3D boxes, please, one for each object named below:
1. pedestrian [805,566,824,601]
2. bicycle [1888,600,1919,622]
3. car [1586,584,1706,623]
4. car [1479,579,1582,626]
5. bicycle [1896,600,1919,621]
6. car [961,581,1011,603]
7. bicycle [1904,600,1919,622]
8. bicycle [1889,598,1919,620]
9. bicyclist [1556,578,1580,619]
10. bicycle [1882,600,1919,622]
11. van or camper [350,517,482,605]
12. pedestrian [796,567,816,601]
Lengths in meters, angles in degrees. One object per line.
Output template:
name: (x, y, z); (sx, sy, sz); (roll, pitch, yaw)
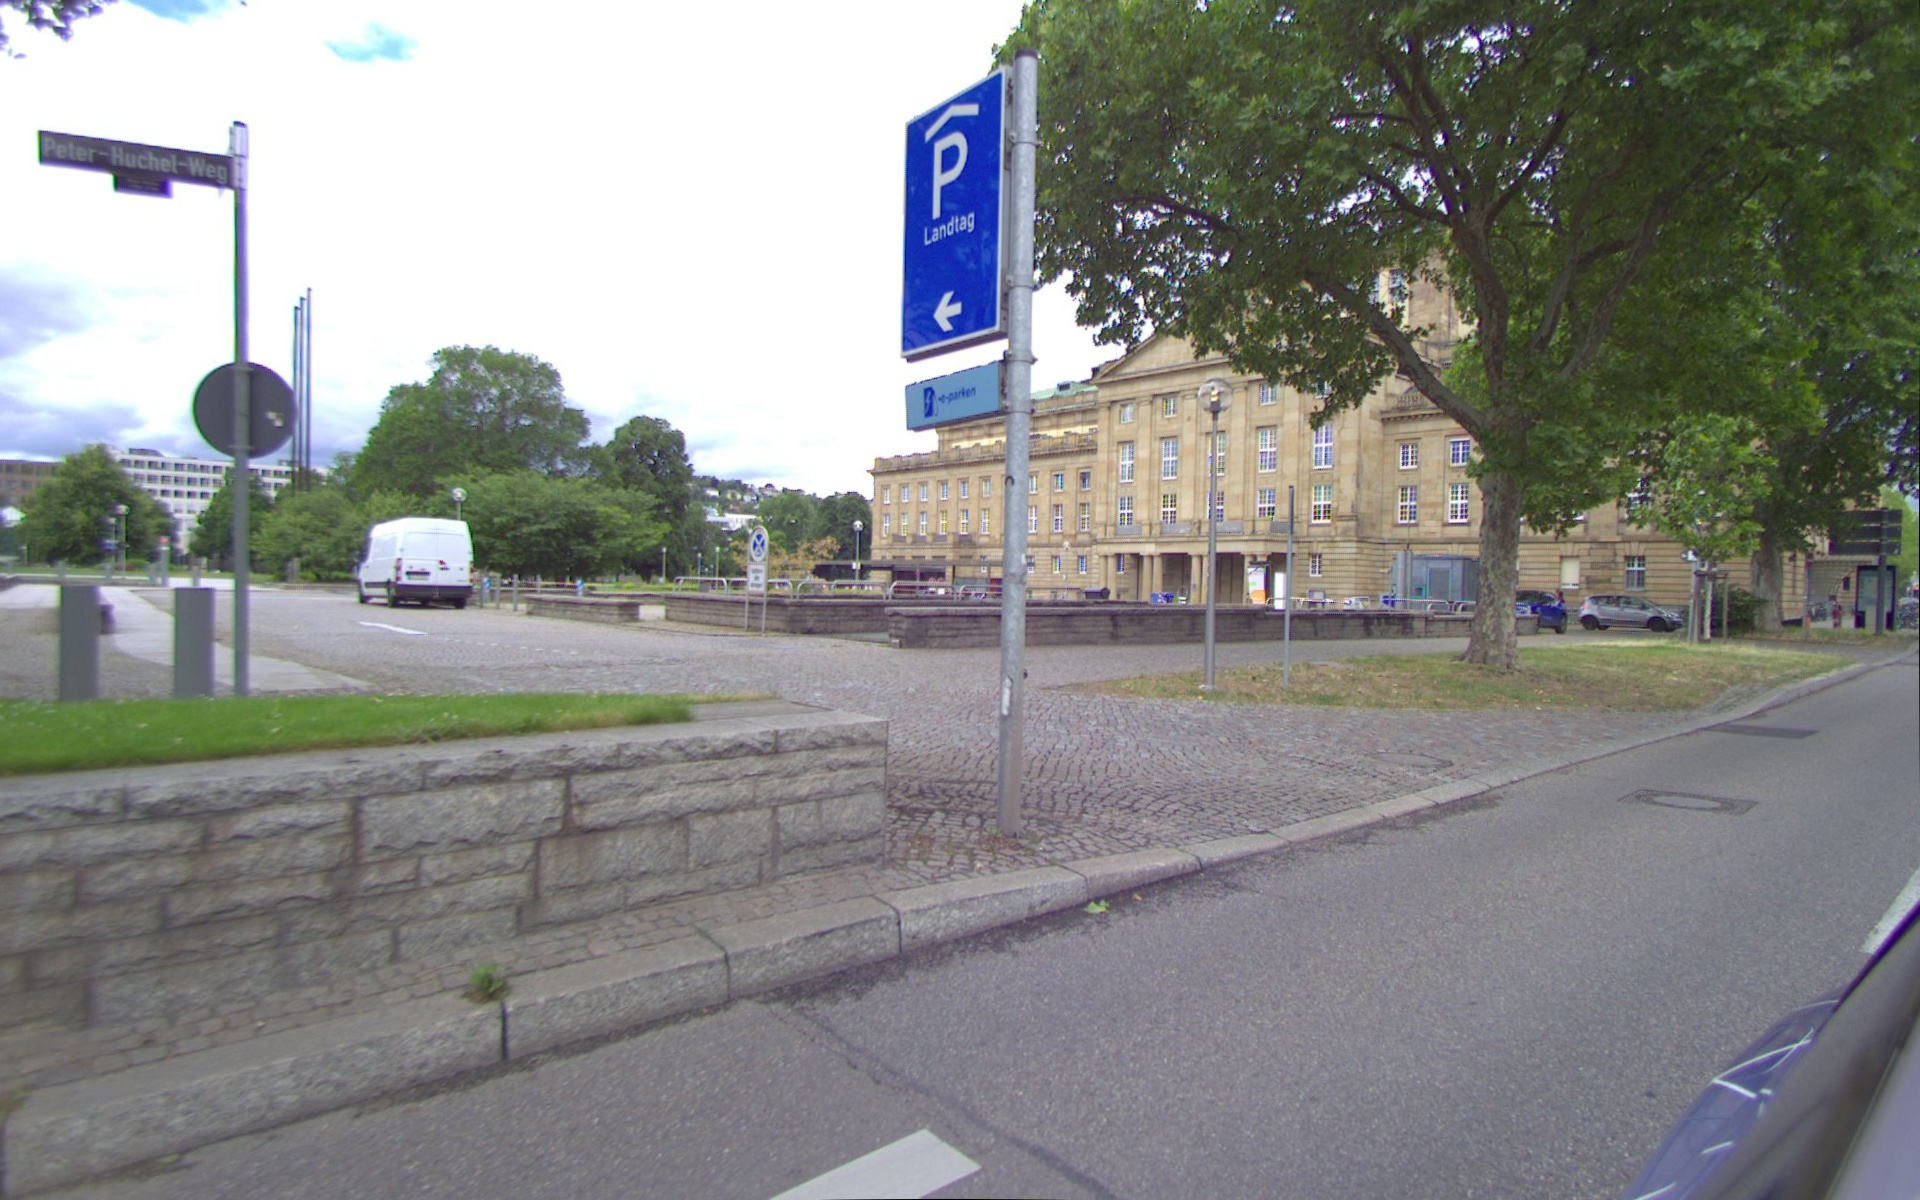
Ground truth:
pedestrian: (-8.657, -0.983, 60.285); (0.802, 2.039, 0.766); (-1, 0, -43)
bicycle: (48.422, 0.583, 51.437); (1.833, 1.086, 0.610); (2, 1, 42)
car: (29.586, 0.165, 43.726); (1.704, 1.616, 3.993); (-1, 0, -41)
car: (20.180, 0.106, 35.722); (4.141, 1.537, 1.768); (2, 0, -40)
bicycle: (49.901, 0.555, 52.513); (1.825, 1.086, 0.526); (1, 1, 30)
car: (2.133, -0.651, 84.139); (1.965, 1.739, 3.993); (-1, 0, -41)
bicycle: (49.563, 0.575, 51.742); (1.833, 1.086, 0.524); (2, 1, 41)
bicycle: (50.761, 0.468, 53.787); (1.920, 1.147, 0.536); (1, 1, 30)
bicyclist: (30.767, -0.078, 51.203); (0.868, 2.039, 0.837); (-1, -1, 23)
bicycle: (47.854, 0.557, 51.078); (1.911, 1.112, 0.533); (2, 1, 42)
van or camper: (-16.243, -1.091, 30.030); (2.280, 2.348, 5.707); (-2, 2, -40)
pedestrian: (-9.272, -0.955, 61.015); (0.856, 2.039, 0.803); (-2, 0, 45)
